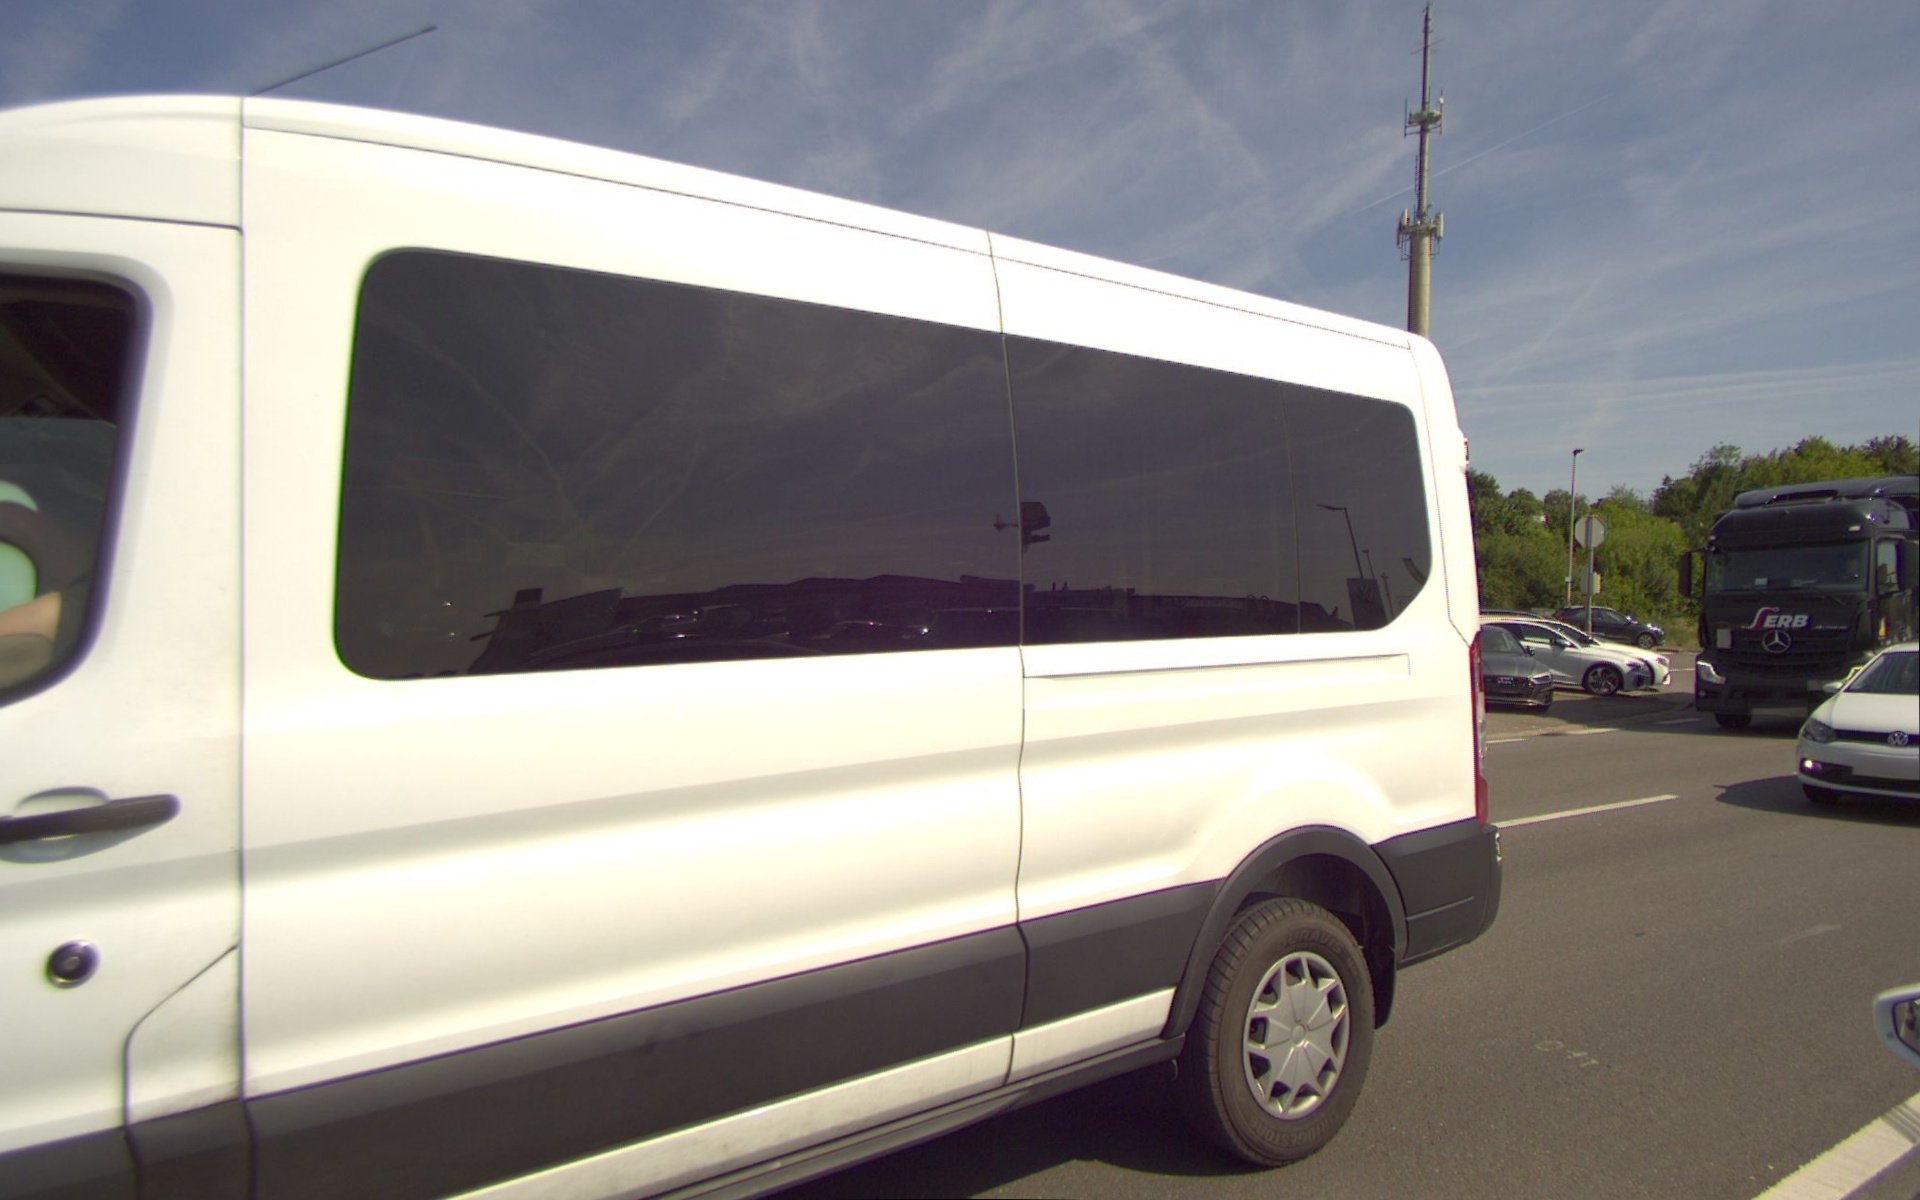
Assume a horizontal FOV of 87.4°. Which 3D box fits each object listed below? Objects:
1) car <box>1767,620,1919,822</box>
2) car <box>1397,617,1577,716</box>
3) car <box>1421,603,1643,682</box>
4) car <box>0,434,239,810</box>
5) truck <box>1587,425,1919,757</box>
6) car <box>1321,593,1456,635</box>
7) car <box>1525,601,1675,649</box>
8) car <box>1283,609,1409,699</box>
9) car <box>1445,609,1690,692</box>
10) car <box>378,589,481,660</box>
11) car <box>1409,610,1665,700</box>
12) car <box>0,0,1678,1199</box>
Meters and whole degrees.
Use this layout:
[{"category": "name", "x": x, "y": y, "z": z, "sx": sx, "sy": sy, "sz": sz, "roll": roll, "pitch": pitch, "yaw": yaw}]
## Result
[{"category": "car", "x": 9.109, "y": 0.987, "z": 9.043, "sx": 3.955, "sy": 1.576, "sz": 1.644, "roll": 1, "pitch": -3, "yaw": -32}, {"category": "car", "x": 9.887, "y": 1.155, "z": 19.274, "sx": 1.934, "sy": 1.455, "sz": 4.643, "roll": 1, "pitch": 1, "yaw": 13}, {"category": "car", "x": 14.847, "y": 1.055, "z": 26.393, "sx": 4.702, "sy": 1.647, "sz": 1.932, "roll": 4, "pitch": 1, "yaw": 18}, {"category": "car", "x": -8.966, "y": 0.187, "z": 10.032, "sx": 2.090, "sy": 2.876, "sz": 5.685, "roll": 0, "pitch": 0, "yaw": -28}, {"category": "truck", "x": 13.912, "y": -0.019, "z": 16.116, "sx": 9.869, "sy": 4.051, "sz": 2.695, "roll": 1, "pitch": -1, "yaw": -33}, {"category": "car", "x": 17.689, "y": 0.568, "z": 41.693, "sx": 4.874, "sy": 1.438, "sz": 1.950, "roll": 3, "pitch": 0, "yaw": 16}, {"category": "car", "x": 25.133, "y": 0.946, "z": 39.646, "sx": 4.543, "sy": 1.548, "sz": 1.916, "roll": 3, "pitch": 2, "yaw": 15}, {"category": "car", "x": 7.787, "y": 1.001, "z": 20.632, "sx": 1.762, "sy": 1.507, "sz": 4.346, "roll": 1, "pitch": 1, "yaw": 13}, {"category": "car", "x": 14.340, "y": 1.146, "z": 24.056, "sx": 4.623, "sy": 1.533, "sz": 1.955, "roll": 4, "pitch": 2, "yaw": 20}, {"category": "car", "x": -13.319, "y": 0.605, "z": 25.441, "sx": 1.857, "sy": 1.629, "sz": 4.082, "roll": 1, "pitch": -1, "yaw": -22}, {"category": "car", "x": 12.520, "y": 1.125, "z": 22.146, "sx": 4.628, "sy": 1.495, "sz": 1.891, "roll": 4, "pitch": 2, "yaw": 27}, {"category": "car", "x": -0.669, "y": 0.303, "z": 2.918, "sx": 7.037, "sy": 2.543, "sz": 2.047, "roll": 1, "pitch": -1, "yaw": -33}]
